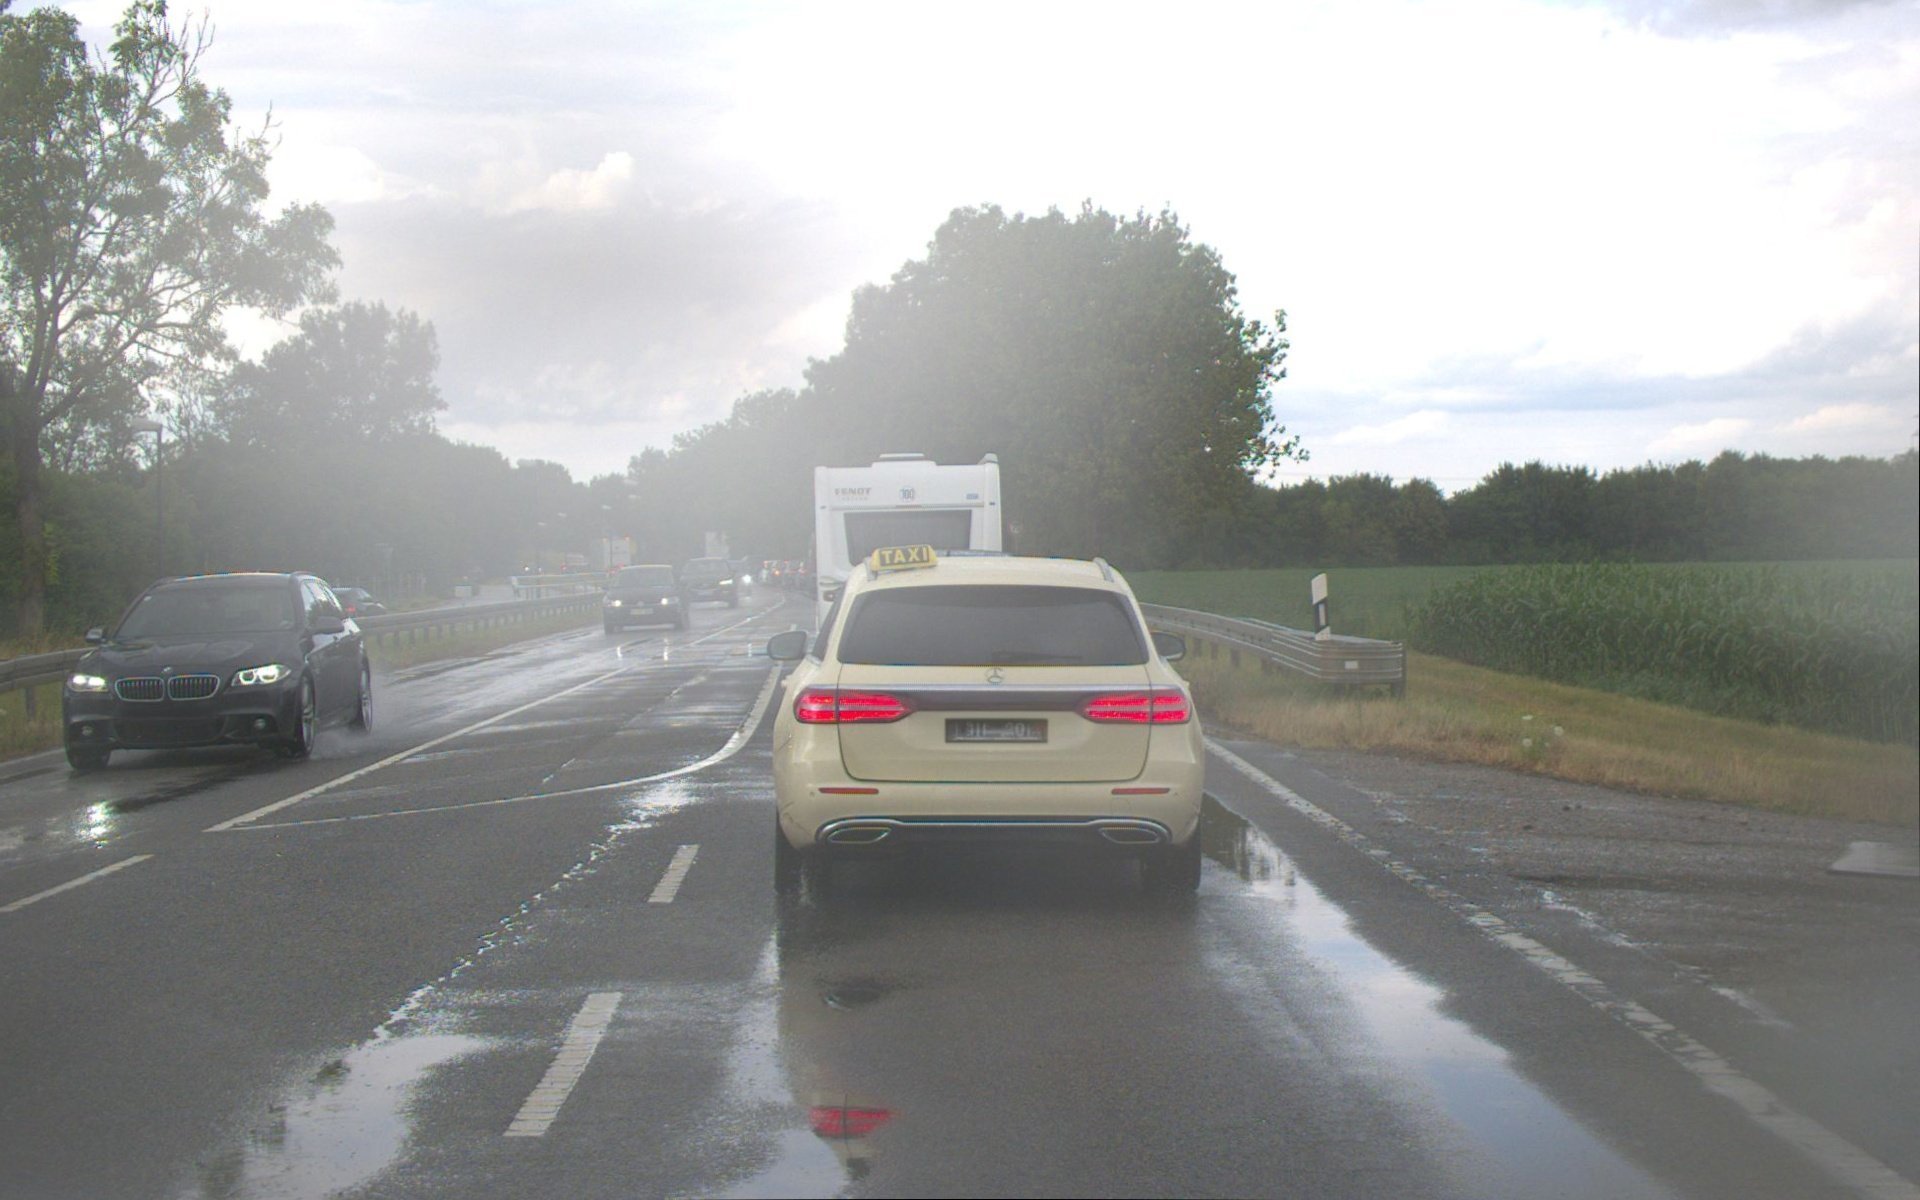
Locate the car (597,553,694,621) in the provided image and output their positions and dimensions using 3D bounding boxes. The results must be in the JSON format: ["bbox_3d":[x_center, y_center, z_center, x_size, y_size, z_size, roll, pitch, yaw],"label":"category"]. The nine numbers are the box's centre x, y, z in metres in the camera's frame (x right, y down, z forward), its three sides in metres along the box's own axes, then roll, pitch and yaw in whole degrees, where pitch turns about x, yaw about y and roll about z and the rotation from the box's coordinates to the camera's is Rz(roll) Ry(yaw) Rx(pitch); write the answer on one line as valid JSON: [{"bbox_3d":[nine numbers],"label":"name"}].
[{"bbox_3d":[-6.927,-0.305,75.964,1.712,1.401,3.814,-2,1,1],"label":"car"}]

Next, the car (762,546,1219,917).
[{"bbox_3d":[0.107,0.495,15.801,1.825,1.480,4.145,0,1,0],"label":"car"}]

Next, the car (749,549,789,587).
[{"bbox_3d":[-10.407,-1.770,187.119,1.993,2.007,4.001,-1,1,-5],"label":"car"}]

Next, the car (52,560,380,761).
[{"bbox_3d":[-5.949,0.425,27.978,1.765,1.433,4.414,-2,1,-1],"label":"car"}]

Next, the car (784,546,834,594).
[{"bbox_3d":[-6.409,-1.286,145.875,1.993,2.007,4.001,-1,1,-4],"label":"car"}]

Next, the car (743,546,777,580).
[{"bbox_3d":[-12.047,-2.227,207.163,1.993,2.007,4.001,-1,1,-4],"label":"car"}]

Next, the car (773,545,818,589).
[{"bbox_3d":[-7.708,-1.544,161.057,1.993,2.007,4.001,-1,1,-4],"label":"car"}]

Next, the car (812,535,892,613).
[{"bbox_3d":[-3.200,-0.782,100.926,2.246,2.191,5.413,-1,1,-3],"label":"car"}]

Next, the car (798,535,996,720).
[{"bbox_3d":[-0.579,0.195,30.884,1.627,1.524,3.933,-1,1,-1],"label":"car"}]

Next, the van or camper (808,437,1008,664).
[{"bbox_3d":[-0.700,-0.657,44.111,2.350,2.671,5.769,-1,1,-1],"label":"van or camper"}]

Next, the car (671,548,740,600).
[{"bbox_3d":[-8.247,-0.861,111.713,1.944,1.575,4.443,-2,1,-1],"label":"car"}]

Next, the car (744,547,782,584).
[{"bbox_3d":[-11.355,-1.981,197.951,1.993,2.044,4.001,-1,1,-6],"label":"car"}]
